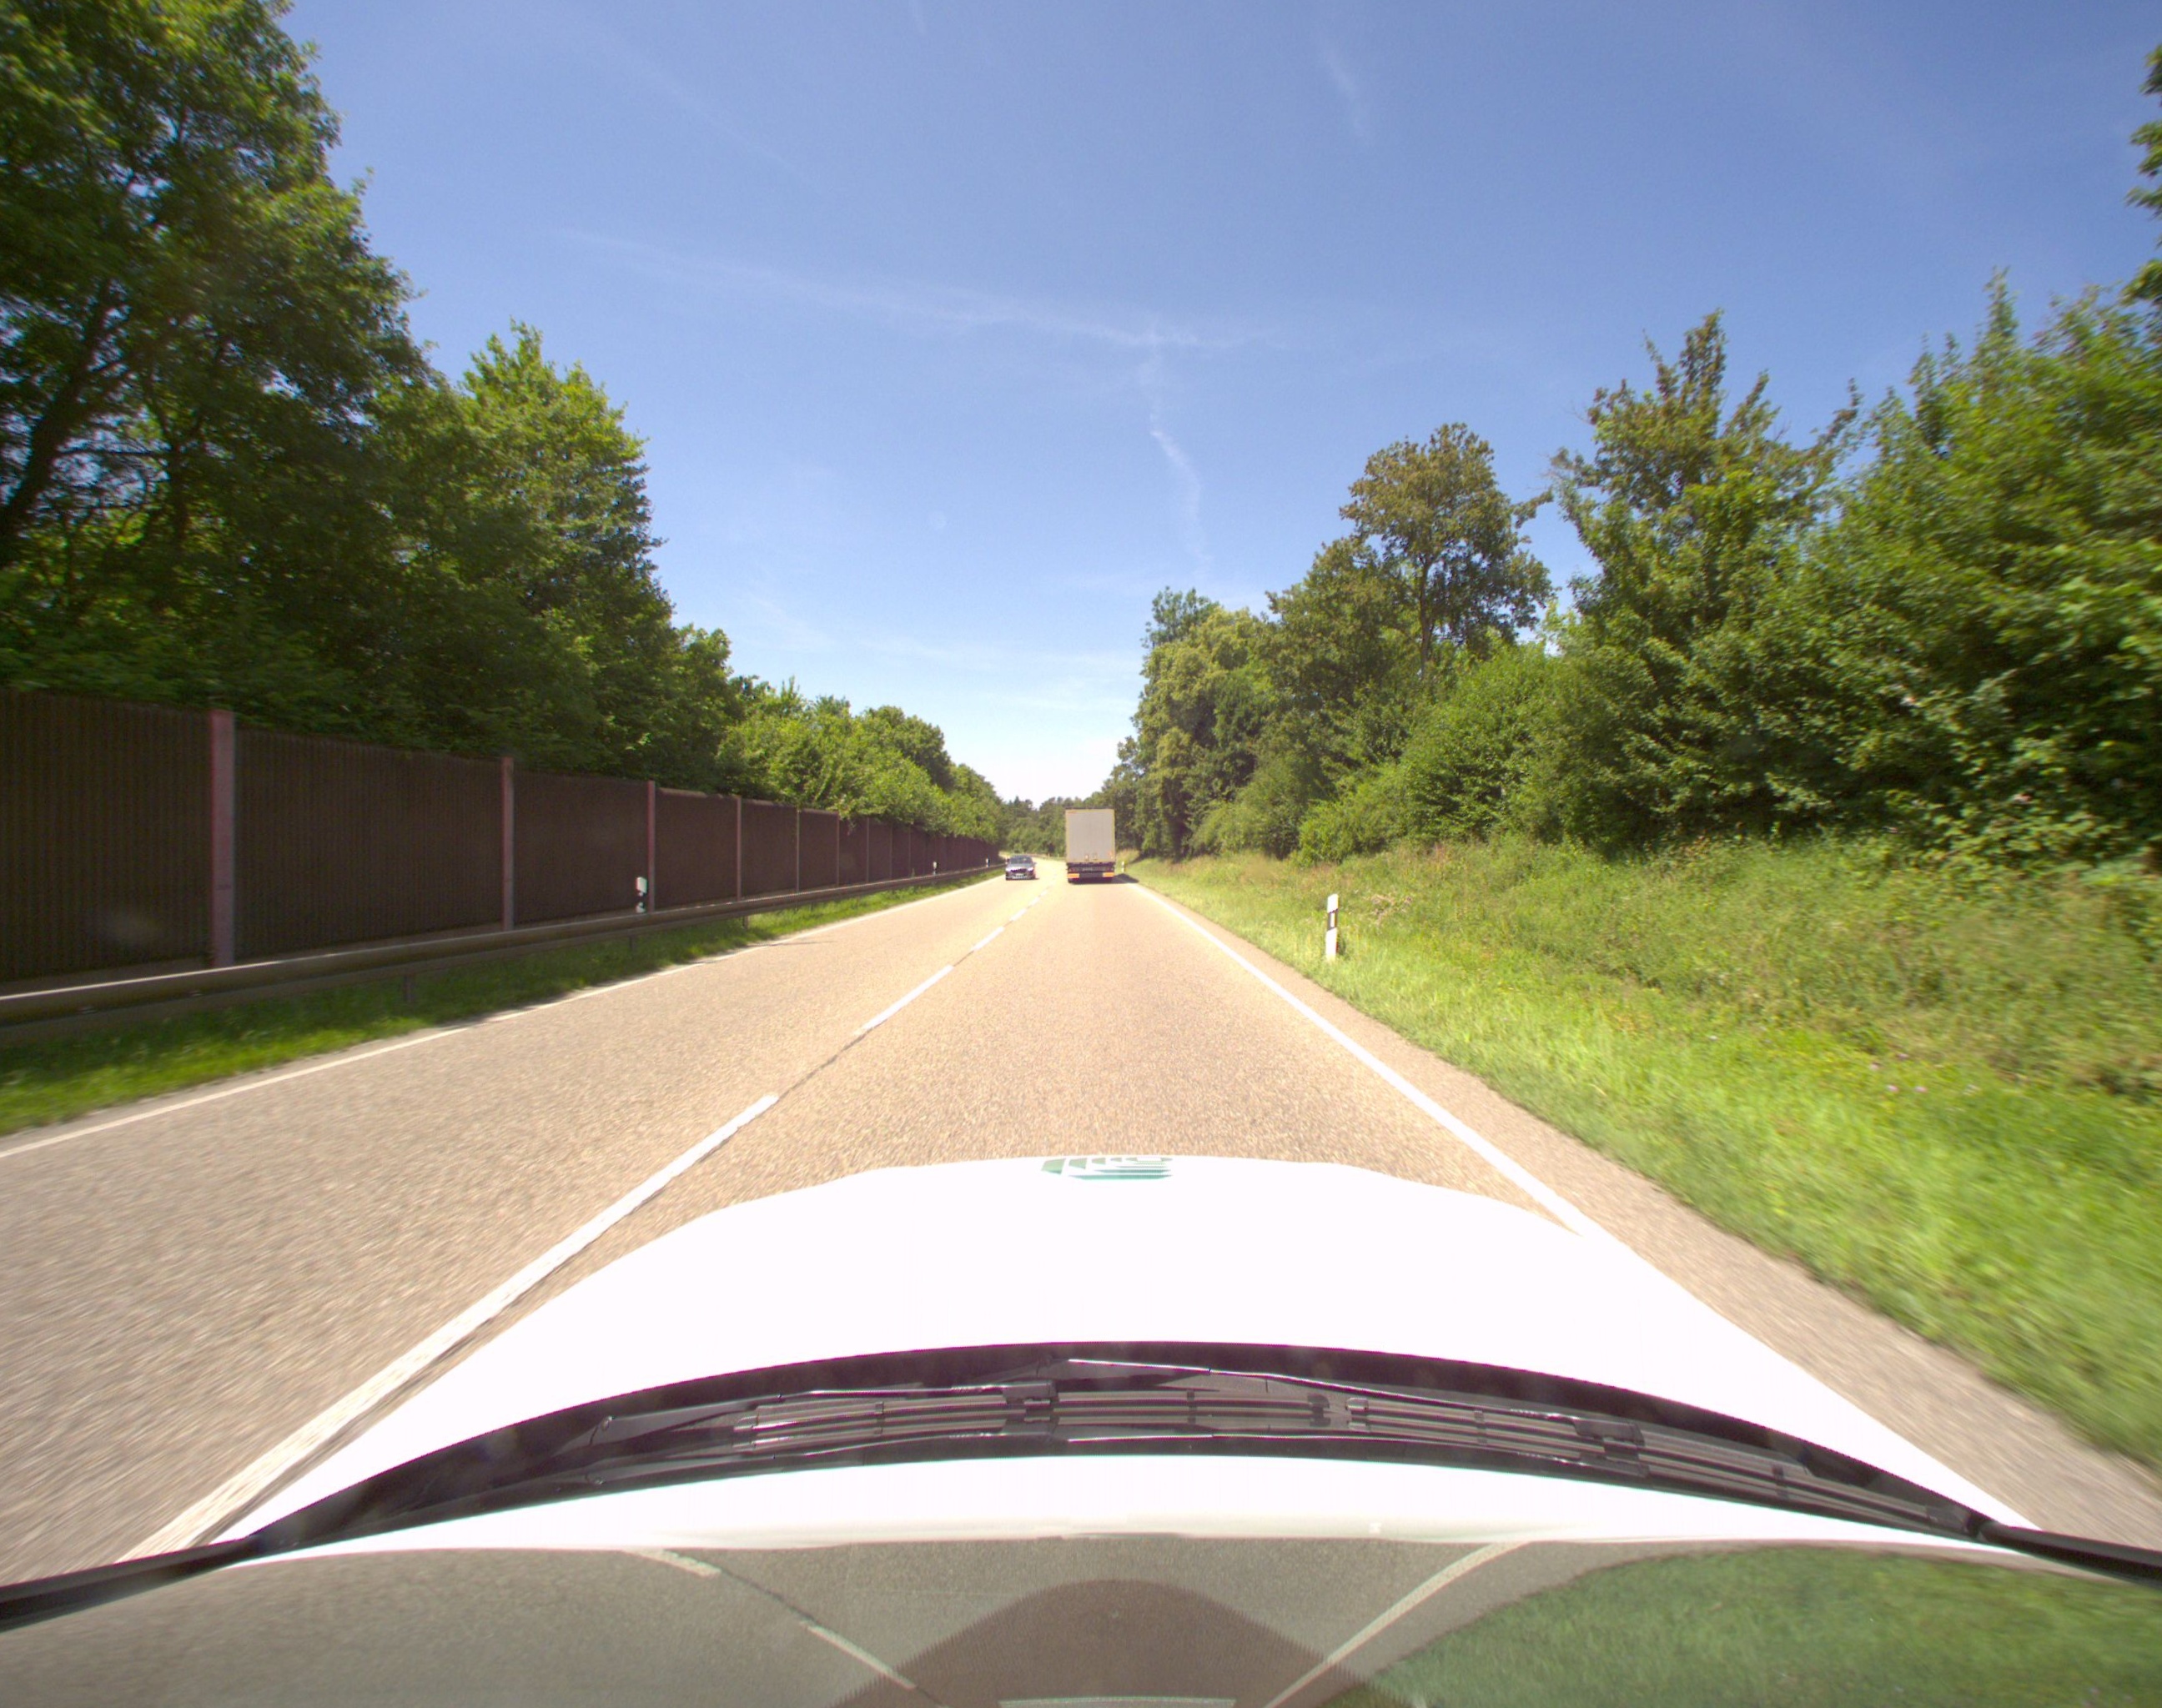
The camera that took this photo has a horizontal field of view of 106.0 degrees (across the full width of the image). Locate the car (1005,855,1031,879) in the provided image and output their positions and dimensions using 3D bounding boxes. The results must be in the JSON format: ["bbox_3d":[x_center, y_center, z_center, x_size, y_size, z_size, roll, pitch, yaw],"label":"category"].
[{"bbox_3d":[-4.121,0.830,52.922,1.614,1.491,3.610,-1,0,-5],"label":"car"}]

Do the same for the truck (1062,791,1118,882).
[{"bbox_3d":[0.449,-0.834,44.744,2.813,4.604,6.663,-1,-1,0],"label":"truck"}]
